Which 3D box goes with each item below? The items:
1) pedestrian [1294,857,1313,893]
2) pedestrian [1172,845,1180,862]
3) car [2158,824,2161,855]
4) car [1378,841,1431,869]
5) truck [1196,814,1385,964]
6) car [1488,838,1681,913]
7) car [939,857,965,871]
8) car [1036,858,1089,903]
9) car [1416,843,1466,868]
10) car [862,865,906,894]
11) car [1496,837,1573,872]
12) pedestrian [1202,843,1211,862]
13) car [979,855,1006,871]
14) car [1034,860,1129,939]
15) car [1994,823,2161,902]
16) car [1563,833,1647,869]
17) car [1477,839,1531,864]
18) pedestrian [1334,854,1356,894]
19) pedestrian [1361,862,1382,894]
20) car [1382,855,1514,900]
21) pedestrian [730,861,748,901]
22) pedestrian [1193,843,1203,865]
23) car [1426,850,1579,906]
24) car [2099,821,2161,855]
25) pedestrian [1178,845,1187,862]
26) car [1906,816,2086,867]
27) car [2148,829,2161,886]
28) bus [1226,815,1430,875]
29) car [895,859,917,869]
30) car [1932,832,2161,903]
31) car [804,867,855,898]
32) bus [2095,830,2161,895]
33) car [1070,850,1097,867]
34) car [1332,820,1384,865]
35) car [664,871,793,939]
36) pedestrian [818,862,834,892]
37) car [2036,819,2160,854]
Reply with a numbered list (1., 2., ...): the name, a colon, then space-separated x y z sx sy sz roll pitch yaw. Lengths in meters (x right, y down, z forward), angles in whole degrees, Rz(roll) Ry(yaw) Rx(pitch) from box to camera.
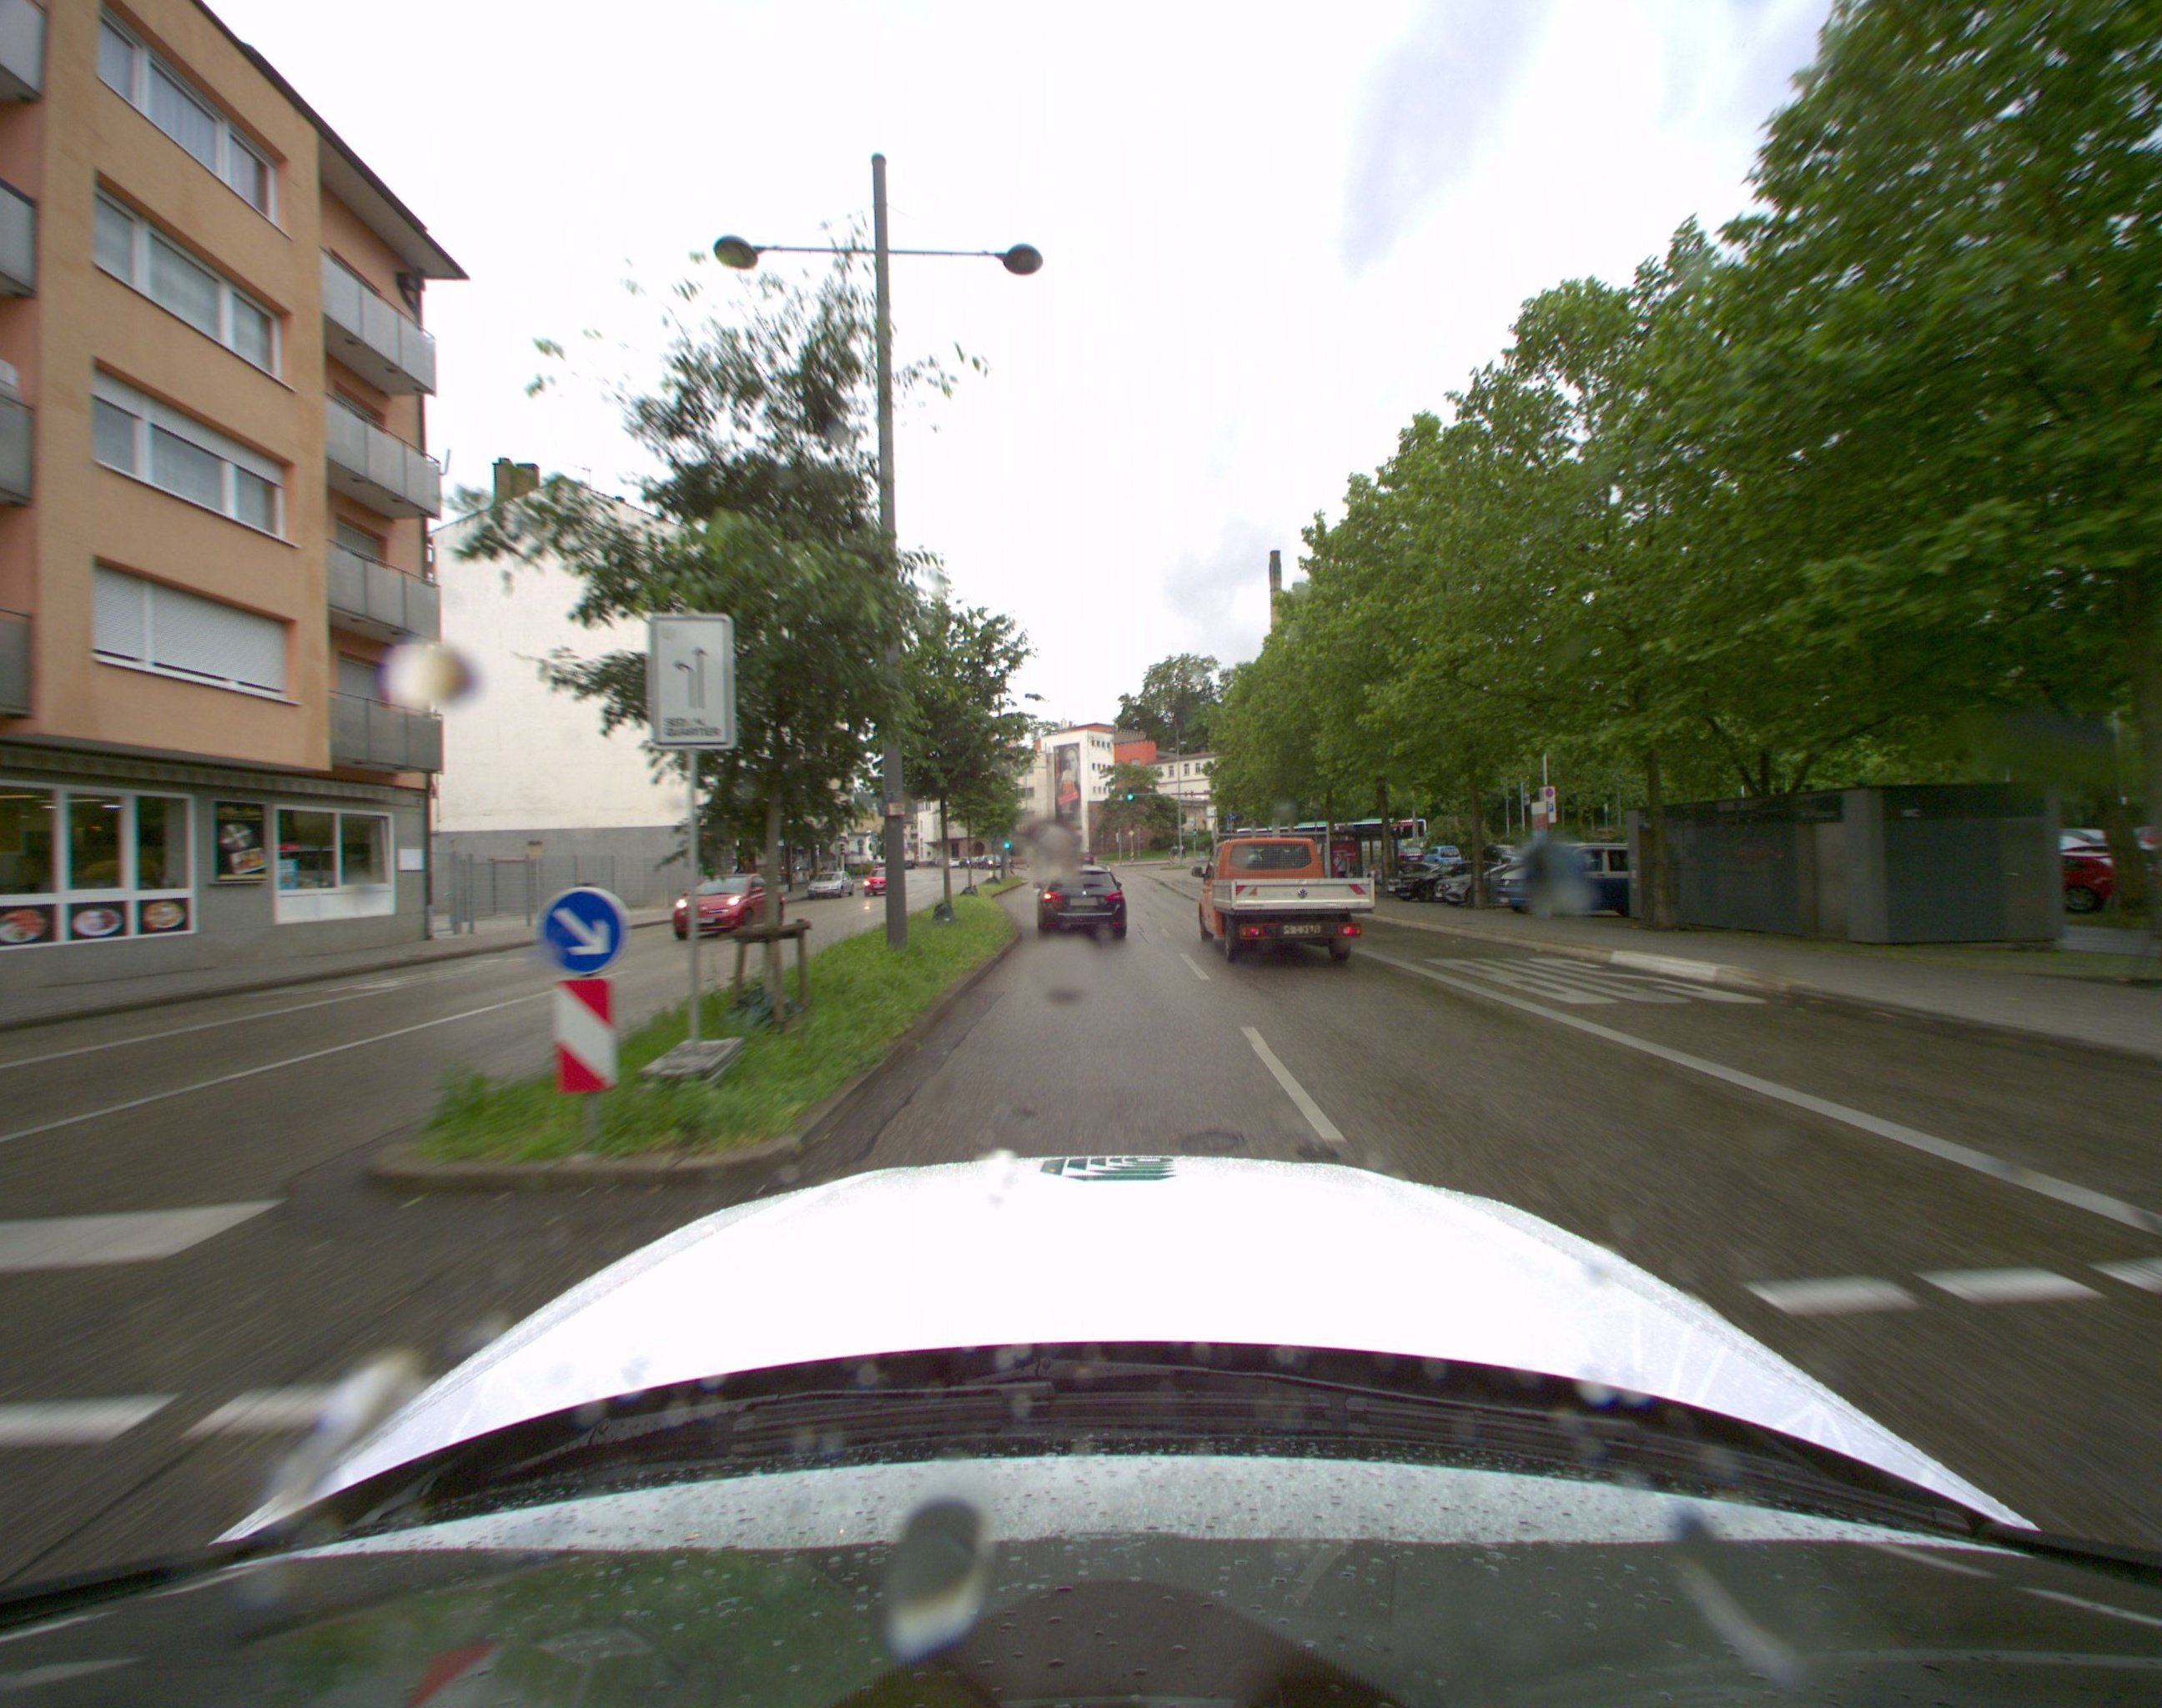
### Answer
1. pedestrian: 10.400 0.975 38.090 0.722 1.700 0.622 -1 -1 -1
2. pedestrian: 9.251 -0.033 79.073 0.638 1.664 0.562 -3 1 -4
3. car: 53.186 -0.725 37.934 1.648 1.515 3.412 -1 0 4
4. car: 22.058 0.065 55.636 1.825 1.826 4.224 -1 -1 -2
5. truck: 3.189 0.490 13.495 2.113 2.025 4.719 -1 0 3
6. car: 13.363 0.555 21.785 3.974 1.924 1.969 0 0 0
7. car: -18.041 1.361 113.621 2.009 1.948 3.955 0 -1 -37
8. car: -0.639 0.933 30.064 1.789 1.483 3.999 -2 0 0
9. car: 24.567 0.100 55.676 1.676 1.618 3.647 -1 -1 -2
10. car: -10.633 1.355 44.191 1.687 1.401 3.656 -1 0 -4
11. car: 24.531 0.078 44.239 1.900 1.737 3.718 1 -3 -5
12. pedestrian: 11.670 -0.142 75.814 0.716 1.664 0.562 -3 1 -4
13. car: -9.333 0.973 85.922 1.654 1.564 3.567 2 -3 -28
14. car: 0.017 0.884 17.317 1.789 1.483 3.999 0 -1 0
15. car: 27.111 0.297 21.381 1.820 1.904 4.000 1 -3 1
16. car: 27.902 -0.113 43.502 1.900 1.737 3.718 1 -3 -5
17. car: 28.408 -0.164 54.799 1.627 1.567 3.605 -1 0 -2
18. pedestrian: 11.401 0.844 35.163 0.722 1.700 0.622 -1 -1 -1
19. pedestrian: 12.436 1.028 34.914 0.619 1.357 0.726 -1 -1 -1
20. car: 13.113 0.819 29.237 3.974 1.509 1.743 1 0 0
21. pedestrian: -16.102 1.256 38.356 0.638 1.861 0.523 -1 0 -5
22. pedestrian: 10.909 -0.012 75.826 0.716 1.993 0.562 -3 1 -4
23. car: 13.503 0.750 26.271 3.974 1.650 1.917 1 0 0
24. car: 50.475 -0.753 38.069 1.648 1.515 3.412 -1 0 4
25. pedestrian: 9.875 -0.032 79.145 0.638 1.664 0.562 -3 1 -4
26. car: 32.108 -0.393 28.775 1.815 1.651 3.996 -1 -1 -2
27. car: 32.421 0.076 22.052 1.813 1.651 3.999 -1 -1 0
28. bus: 22.653 -0.797 75.262 17.862 5.211 3.098 -1 -1 -1
29. car: -26.831 1.540 124.797 3.555 1.510 1.609 -1 -1 45
30. car: 24.792 0.339 21.054 1.594 1.651 3.589 -1 -1 -9
31. car: -13.486 1.492 43.880 1.773 1.525 3.656 -1 0 -4
32. bus: 29.585 0.199 20.963 1.987 1.723 3.999 -1 -1 -1
33. car: 0.214 0.494 83.317 1.650 1.564 3.575 2 -3 -20
34. car: 19.042 -0.752 56.186 2.067 2.971 4.224 -1 -1 -2
35. car: -8.651 1.191 20.337 1.661 1.399 3.871 -3 0 -4
36. pedestrian: -17.020 1.552 54.344 0.731 2.014 0.650 3 -4 -36
37. car: 47.621 -0.795 38.237 1.648 1.515 3.412 -1 0 4
